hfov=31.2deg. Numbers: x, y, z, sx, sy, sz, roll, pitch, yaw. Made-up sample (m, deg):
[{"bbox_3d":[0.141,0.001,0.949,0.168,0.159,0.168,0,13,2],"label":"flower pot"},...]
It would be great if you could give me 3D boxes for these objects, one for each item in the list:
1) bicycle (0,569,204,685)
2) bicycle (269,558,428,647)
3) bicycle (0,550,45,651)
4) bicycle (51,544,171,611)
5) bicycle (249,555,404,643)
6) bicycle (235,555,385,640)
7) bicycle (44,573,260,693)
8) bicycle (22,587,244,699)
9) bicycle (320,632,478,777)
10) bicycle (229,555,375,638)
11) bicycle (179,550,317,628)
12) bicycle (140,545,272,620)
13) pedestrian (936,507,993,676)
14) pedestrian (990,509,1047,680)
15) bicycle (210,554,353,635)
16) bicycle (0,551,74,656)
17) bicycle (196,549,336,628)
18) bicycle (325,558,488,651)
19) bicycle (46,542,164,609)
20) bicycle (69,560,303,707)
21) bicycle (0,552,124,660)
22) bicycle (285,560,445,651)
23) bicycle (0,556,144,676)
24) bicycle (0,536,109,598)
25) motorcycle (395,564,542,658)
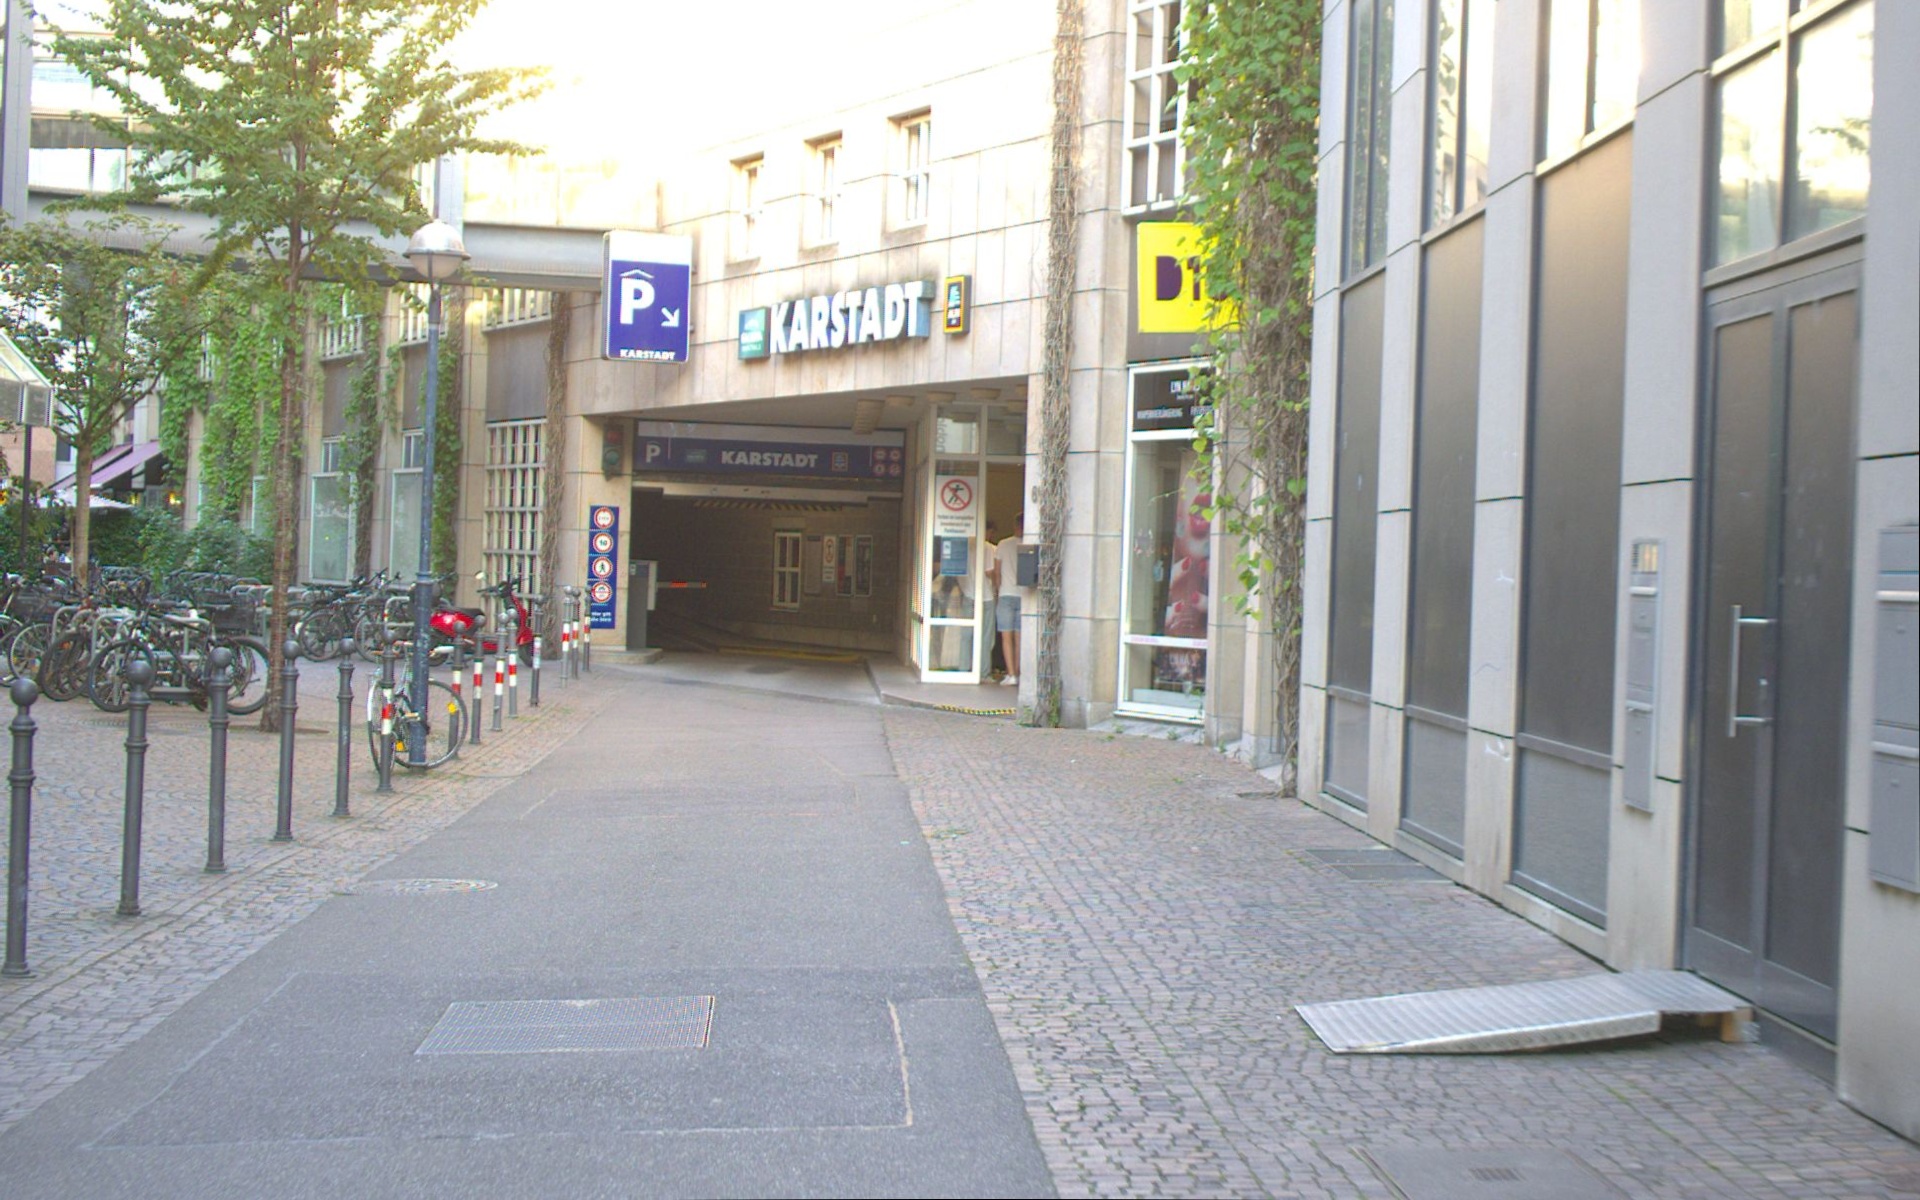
[{"bbox_3d":[-8.585,0.270,34.351,1.912,1.098,0.696,2,1,-19],"label":"bicycle"},{"bbox_3d":[-8.267,0.026,46.465,1.993,1.178,0.803,0,1,-21],"label":"bicycle"},{"bbox_3d":[-11.840,-0.017,40.605,1.912,1.178,0.696,2,1,-19],"label":"bicycle"},{"bbox_3d":[-15.059,-0.408,61.009,1.993,1.178,0.694,0,1,-21],"label":"bicycle"},{"bbox_3d":[-8.768,-0.022,47.580,1.993,1.178,0.803,0,1,-21],"label":"bicycle"},{"bbox_3d":[-9.270,-0.041,49.016,1.993,1.178,0.803,0,1,-21],"label":"bicycle"},{"bbox_3d":[-7.800,0.323,33.194,1.912,1.098,0.696,1,1,-22],"label":"bicycle"},{"bbox_3d":[-7.764,0.401,32.276,1.912,0.991,0.696,1,1,-22],"label":"bicycle"},{"bbox_3d":[-4.004,0.730,24.647,0.505,0.963,1.694,2,1,13],"label":"bicycle"},{"bbox_3d":[-9.572,-0.065,49.993,1.993,1.178,0.694,0,1,-21],"label":"bicycle"},{"bbox_3d":[-11.005,-0.181,53.134,1.993,1.178,0.694,0,1,-21],"label":"bicycle"},{"bbox_3d":[-12.163,-0.290,55.450,1.993,1.178,0.694,0,1,-21],"label":"bicycle"},{"bbox_3d":[0.048,-0.097,38.051,0.542,1.840,0.408,2,1,4],"label":"pedestrian"},{"bbox_3d":[0.646,-0.070,37.837,0.542,1.855,0.408,2,1,4],"label":"pedestrian"},{"bbox_3d":[-10.037,-0.090,50.859,1.993,1.178,0.694,0,1,-21],"label":"bicycle"},{"bbox_3d":[-11.228,0.022,39.586,1.912,1.178,0.696,2,1,-19],"label":"bicycle"},{"bbox_3d":[-10.513,-0.185,52.077,1.993,1.178,0.694,0,1,-21],"label":"bicycle"},{"bbox_3d":[-7.209,0.054,44.763,1.993,1.178,0.696,0,1,-21],"label":"bicycle"},{"bbox_3d":[-15.369,-0.442,61.808,1.993,1.178,0.694,0,1,-21],"label":"bicycle"},{"bbox_3d":[-6.958,0.305,30.891,1.912,1.256,0.809,1,1,-22],"label":"bicycle"},{"bbox_3d":[-10.483,0.059,38.875,1.912,1.178,0.696,2,1,-19],"label":"bicycle"},{"bbox_3d":[-7.889,0.066,45.598,1.993,1.178,0.696,0,1,-21],"label":"bicycle"},{"bbox_3d":[-9.390,0.156,35.221,1.912,1.178,0.696,2,1,-19],"label":"bicycle"},{"bbox_3d":[-17.451,-0.645,66.219,1.993,1.178,0.694,0,1,-21],"label":"bicycle"},{"bbox_3d":[-6.169,0.128,43.127,1.745,1.151,0.595,0,1,-19],"label":"motorcycle"}]
